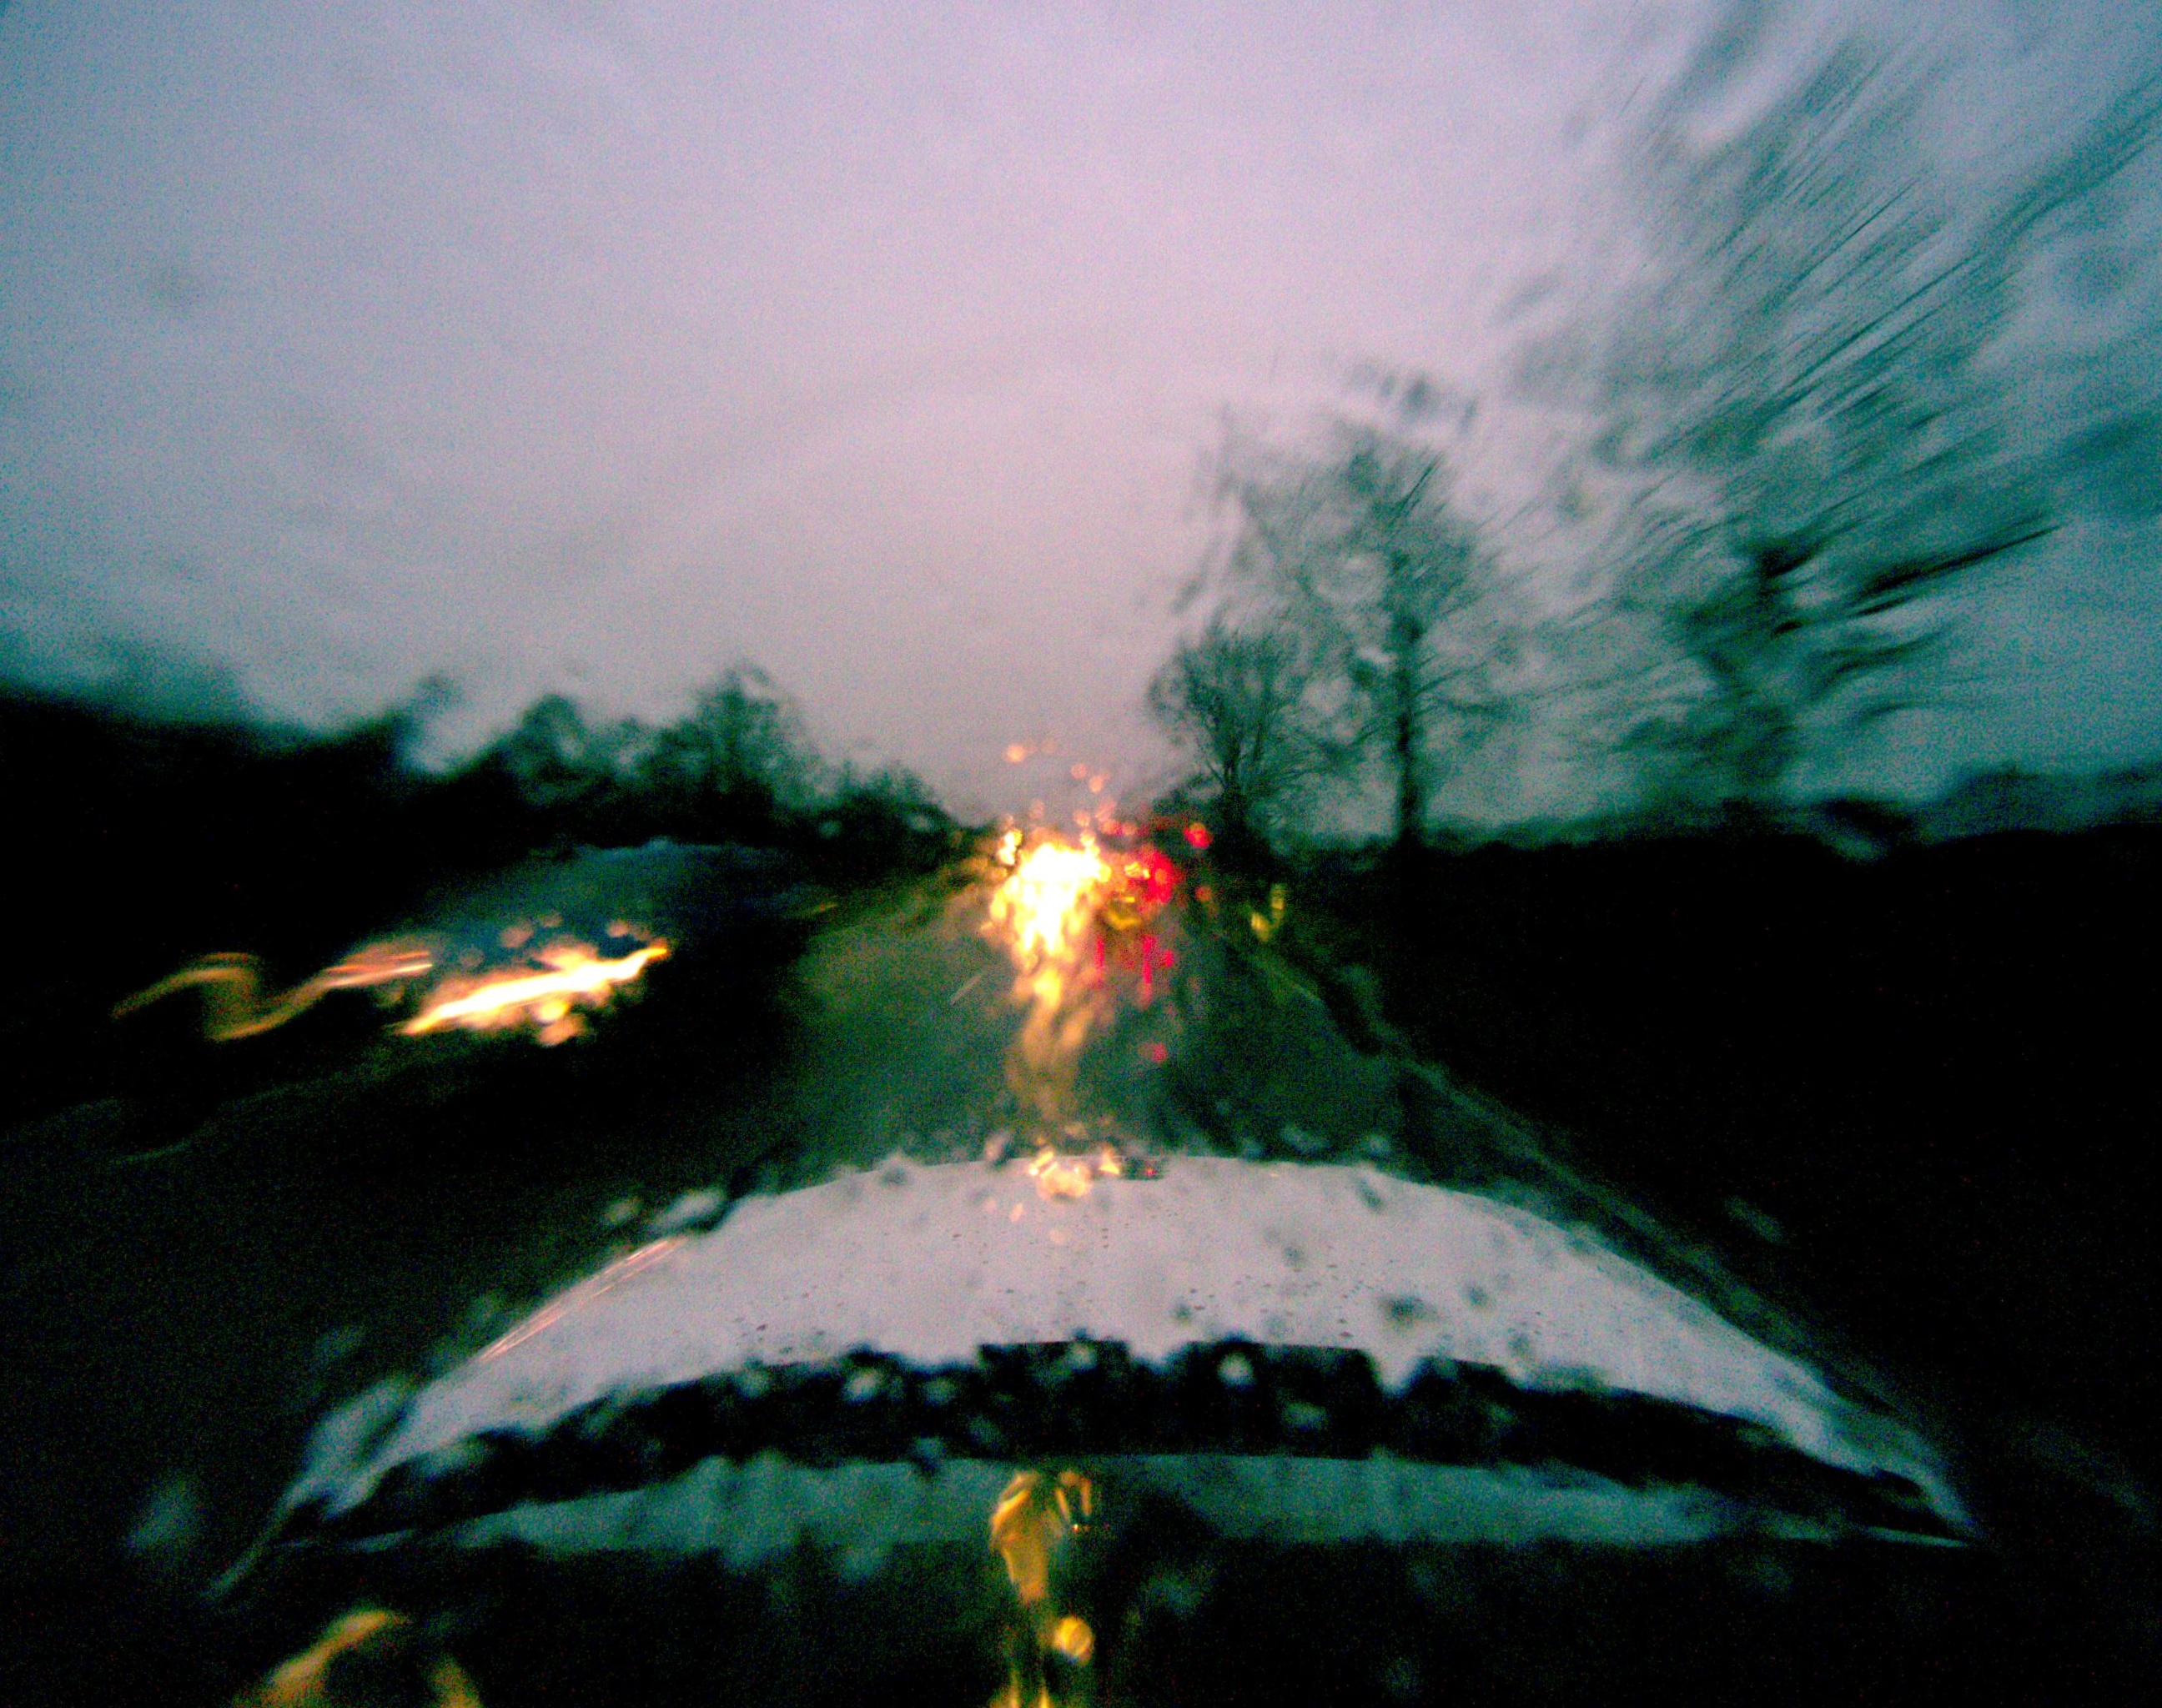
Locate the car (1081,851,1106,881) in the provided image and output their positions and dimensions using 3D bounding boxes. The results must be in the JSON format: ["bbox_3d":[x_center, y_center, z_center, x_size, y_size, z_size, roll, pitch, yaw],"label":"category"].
[{"bbox_3d":[0.811,0.740,52.382,1.569,1.875,3.709,0,0,0],"label":"car"}]

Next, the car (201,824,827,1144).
[{"bbox_3d":[-3.614,0.686,6.319,1.916,1.654,4.105,0,0,1],"label":"car"}]

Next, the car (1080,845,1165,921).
[{"bbox_3d":[1.091,0.687,21.064,1.985,1.784,4.003,0,0,3],"label":"car"}]

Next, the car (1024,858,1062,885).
[{"bbox_3d":[-2.056,0.953,45.164,1.810,1.441,3.457,0,0,2],"label":"car"}]

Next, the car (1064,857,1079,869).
[{"bbox_3d":[-1.213,1.155,105.276,1.744,1.474,3.893,-1,0,2],"label":"car"}]
